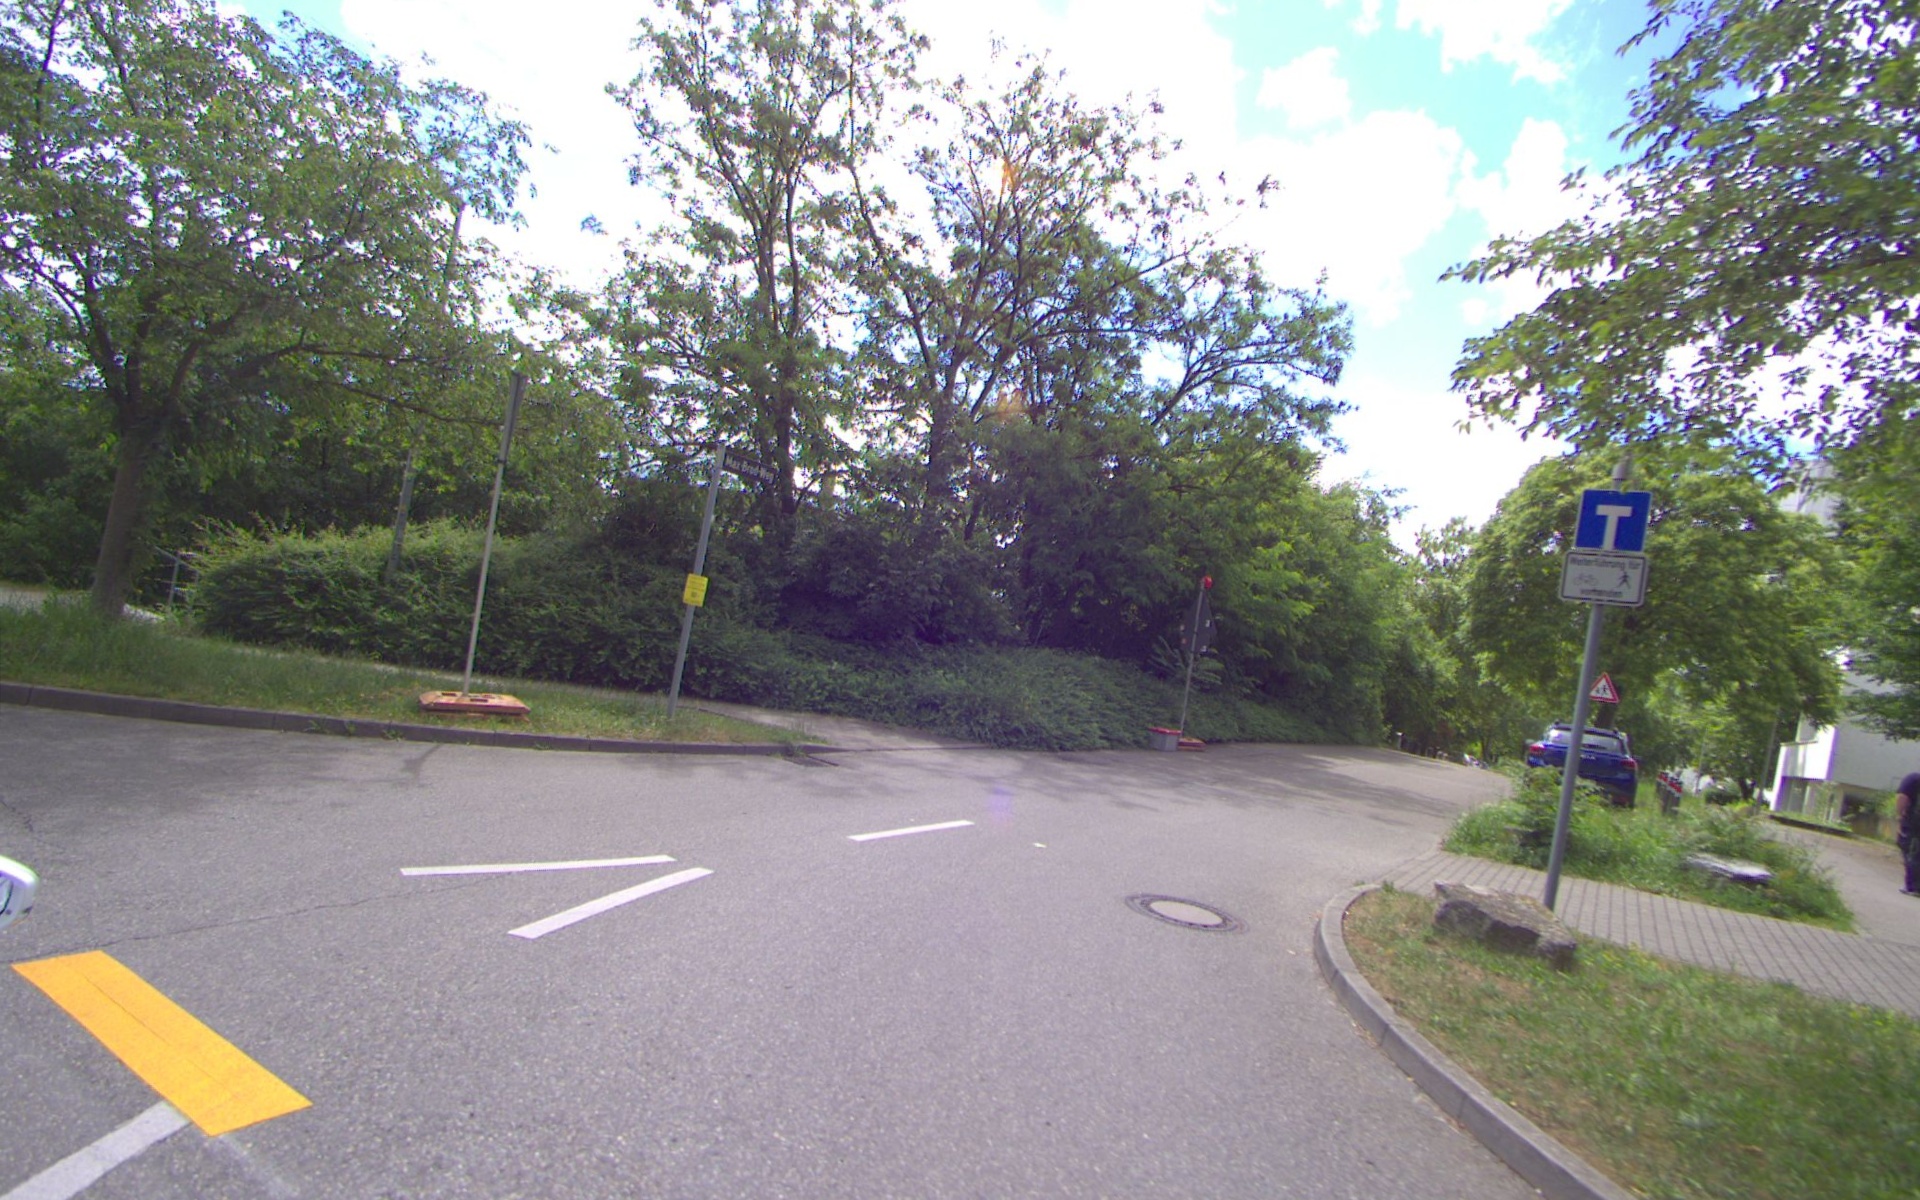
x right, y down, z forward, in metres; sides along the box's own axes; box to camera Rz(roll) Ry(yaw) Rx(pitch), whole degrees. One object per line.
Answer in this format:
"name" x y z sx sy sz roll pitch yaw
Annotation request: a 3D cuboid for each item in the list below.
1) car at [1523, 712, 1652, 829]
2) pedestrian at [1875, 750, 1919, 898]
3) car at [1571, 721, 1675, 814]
"car" 11.790 3.111 18.783 1.701 1.680 3.992 7 -3 35
"pedestrian" 12.135 2.815 12.576 0.773 1.757 0.833 7 -1 35
"car" 15.346 3.806 23.250 1.701 1.680 3.992 7 -3 35
